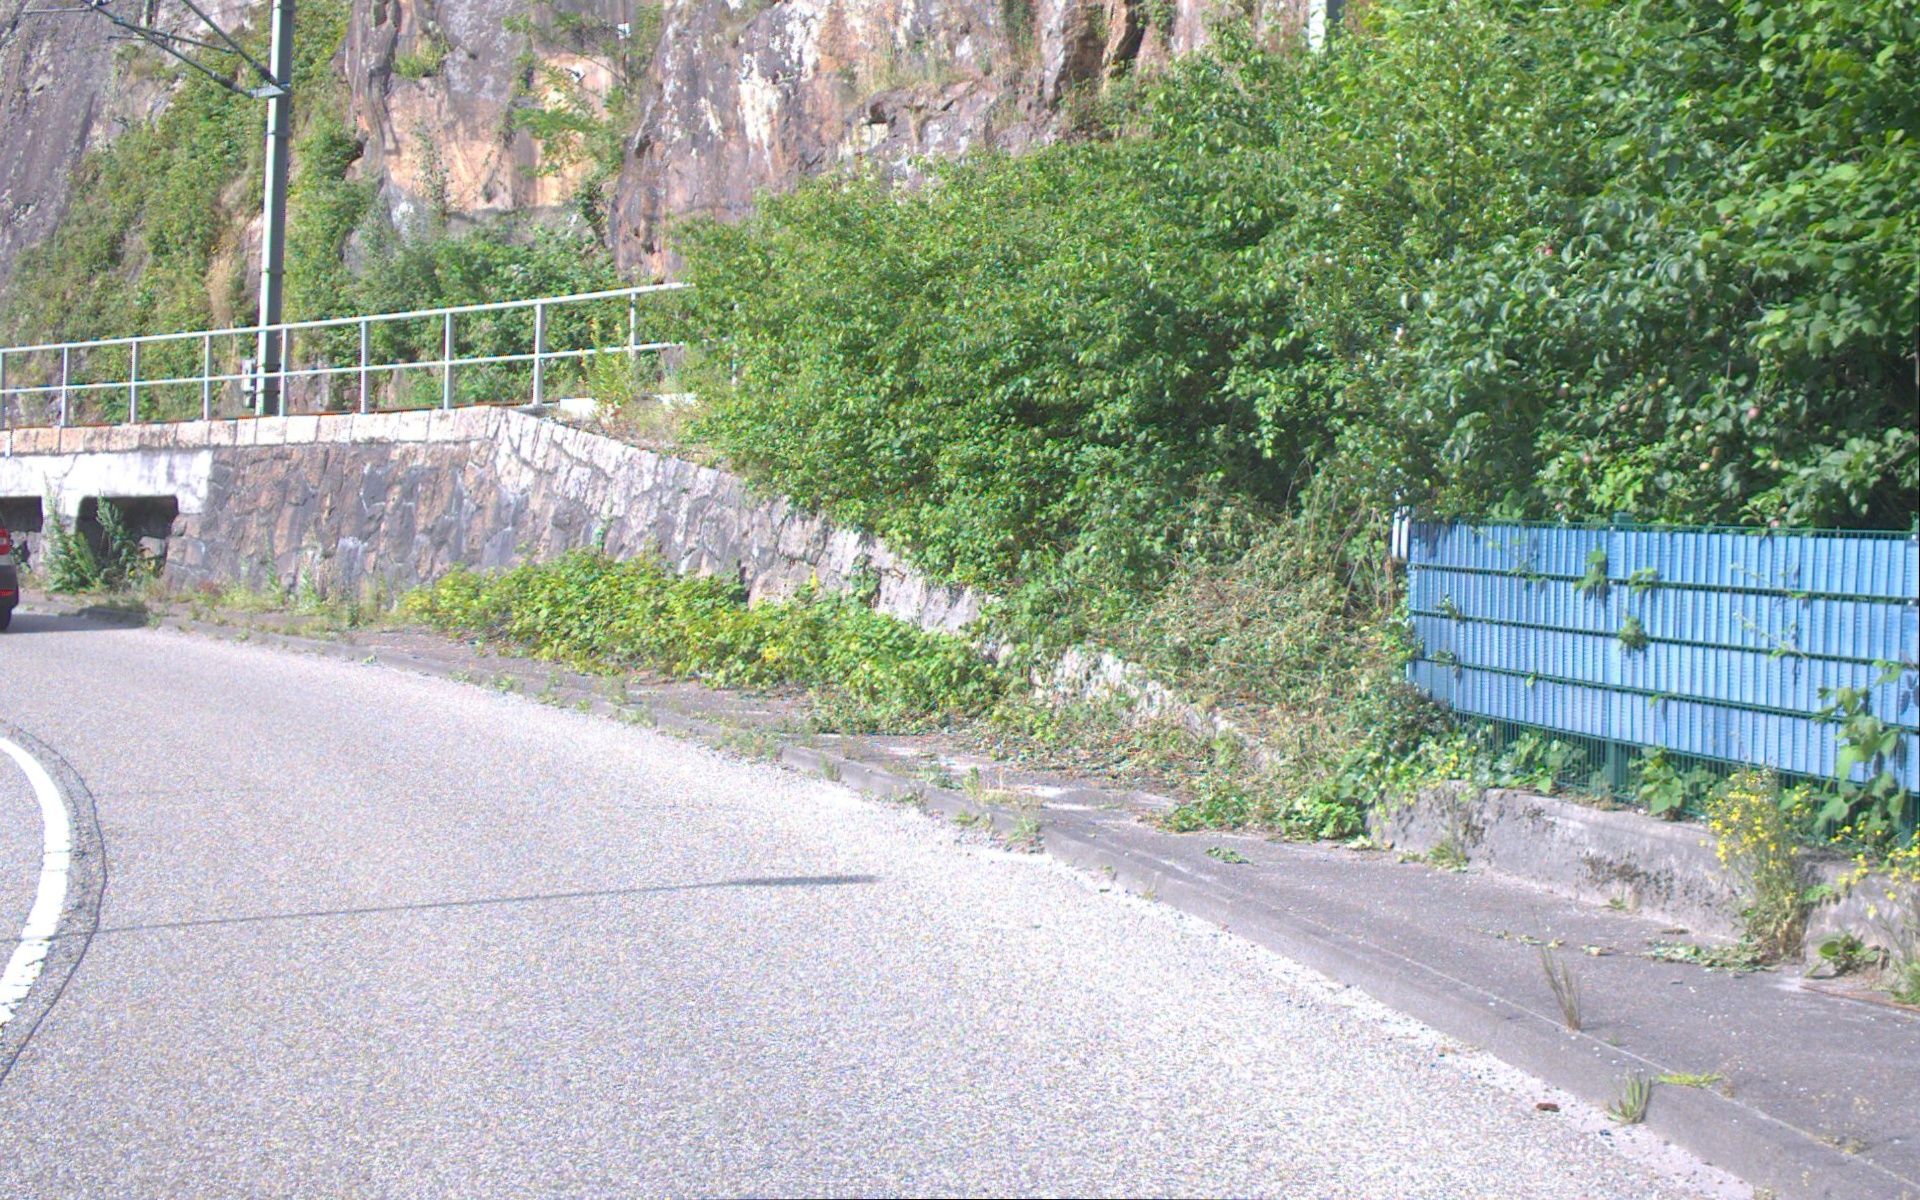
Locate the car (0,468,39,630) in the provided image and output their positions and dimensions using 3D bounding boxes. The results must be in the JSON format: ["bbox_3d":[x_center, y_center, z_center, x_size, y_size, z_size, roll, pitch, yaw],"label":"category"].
[{"bbox_3d":[-11.458,-0.614,37.162,1.873,1.650,4.001,-2,4,-31],"label":"car"}]
